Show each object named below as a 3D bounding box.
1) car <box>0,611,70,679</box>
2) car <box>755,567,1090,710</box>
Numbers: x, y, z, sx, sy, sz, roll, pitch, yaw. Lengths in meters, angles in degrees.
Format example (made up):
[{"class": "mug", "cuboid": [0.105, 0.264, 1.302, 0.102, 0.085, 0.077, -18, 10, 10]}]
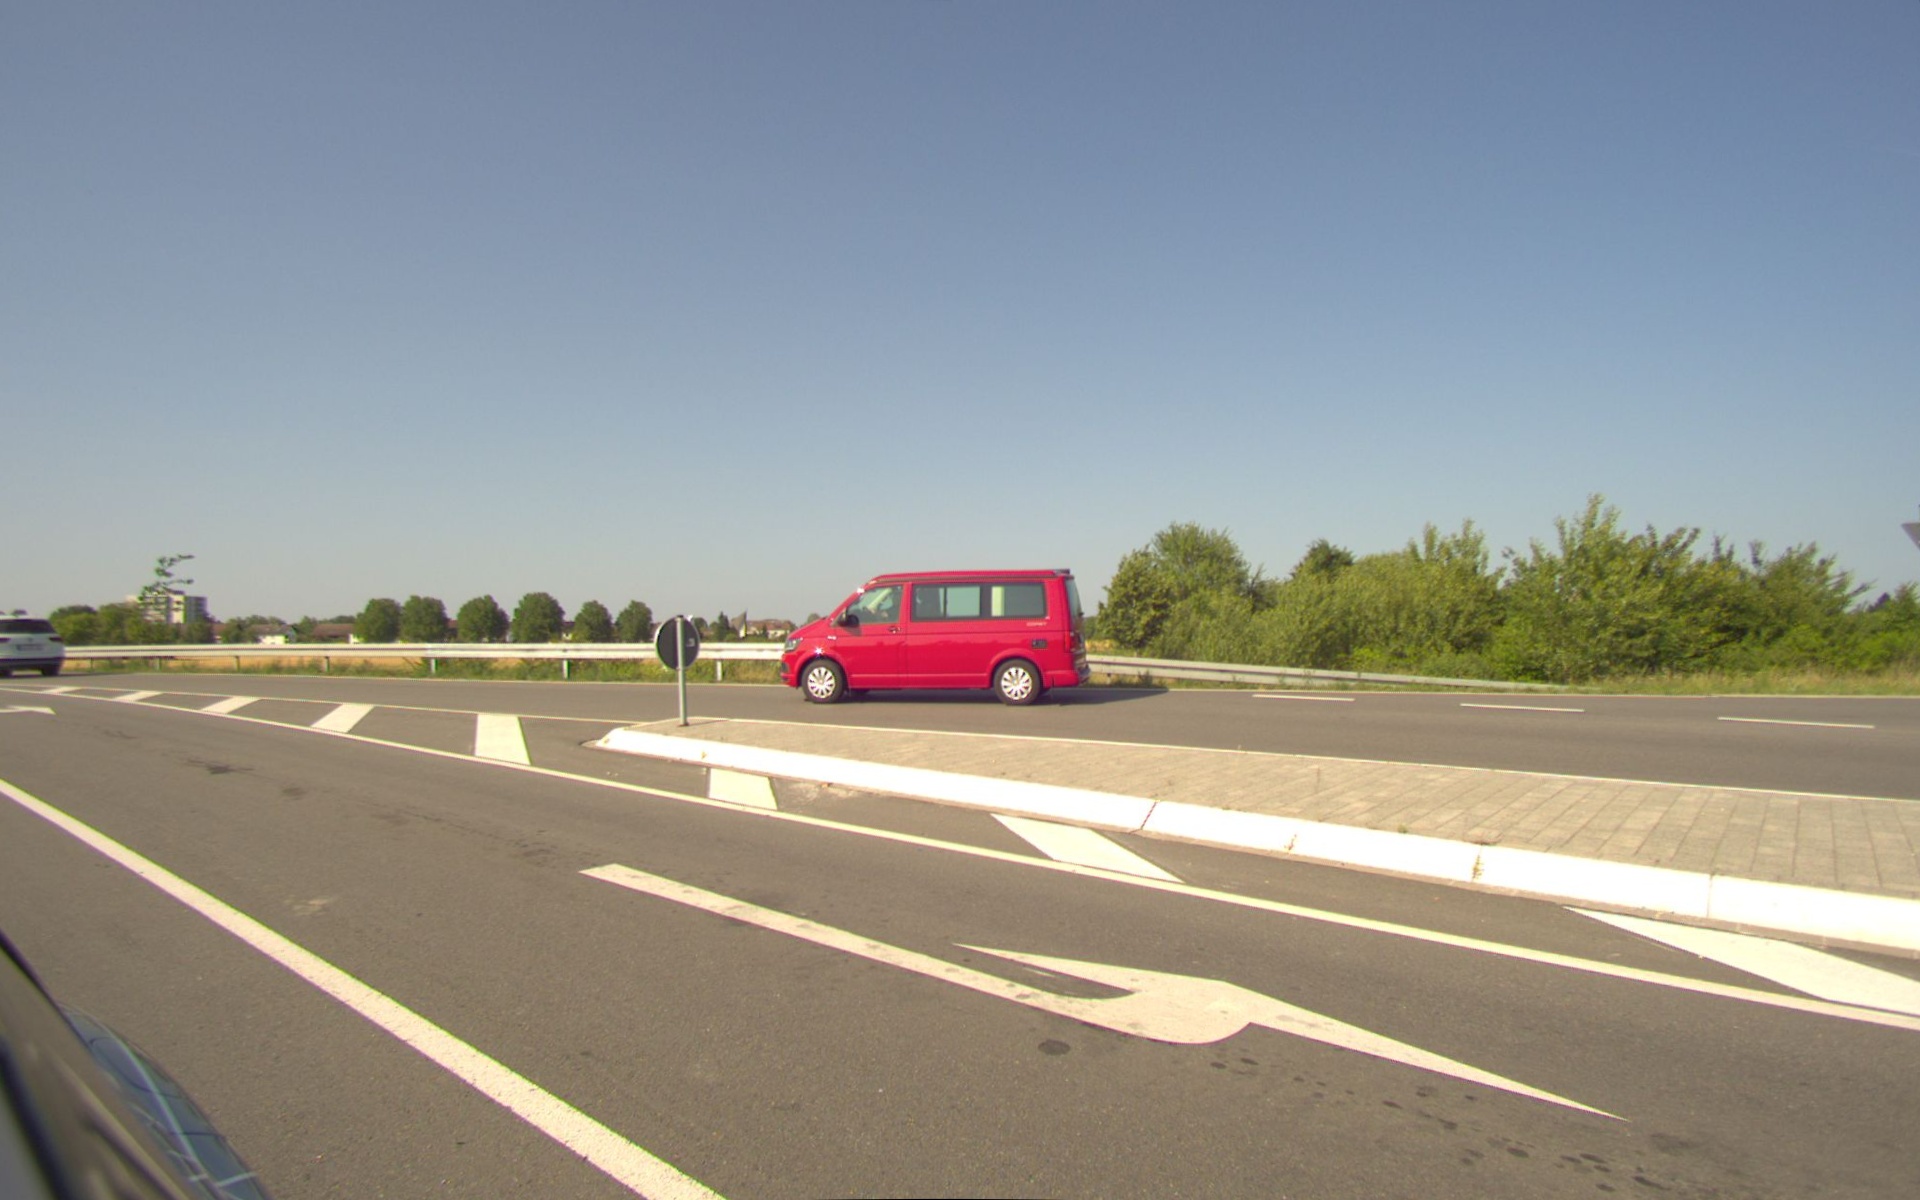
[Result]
[{"class": "car", "cuboid": [-25.926, 1.270, 26.911, 4.837, 1.686, 1.682, -4, -3, 26]}, {"class": "car", "cuboid": [-0.514, 0.614, 15.641, 4.874, 1.955, 1.832, -2, -2, 12]}]
